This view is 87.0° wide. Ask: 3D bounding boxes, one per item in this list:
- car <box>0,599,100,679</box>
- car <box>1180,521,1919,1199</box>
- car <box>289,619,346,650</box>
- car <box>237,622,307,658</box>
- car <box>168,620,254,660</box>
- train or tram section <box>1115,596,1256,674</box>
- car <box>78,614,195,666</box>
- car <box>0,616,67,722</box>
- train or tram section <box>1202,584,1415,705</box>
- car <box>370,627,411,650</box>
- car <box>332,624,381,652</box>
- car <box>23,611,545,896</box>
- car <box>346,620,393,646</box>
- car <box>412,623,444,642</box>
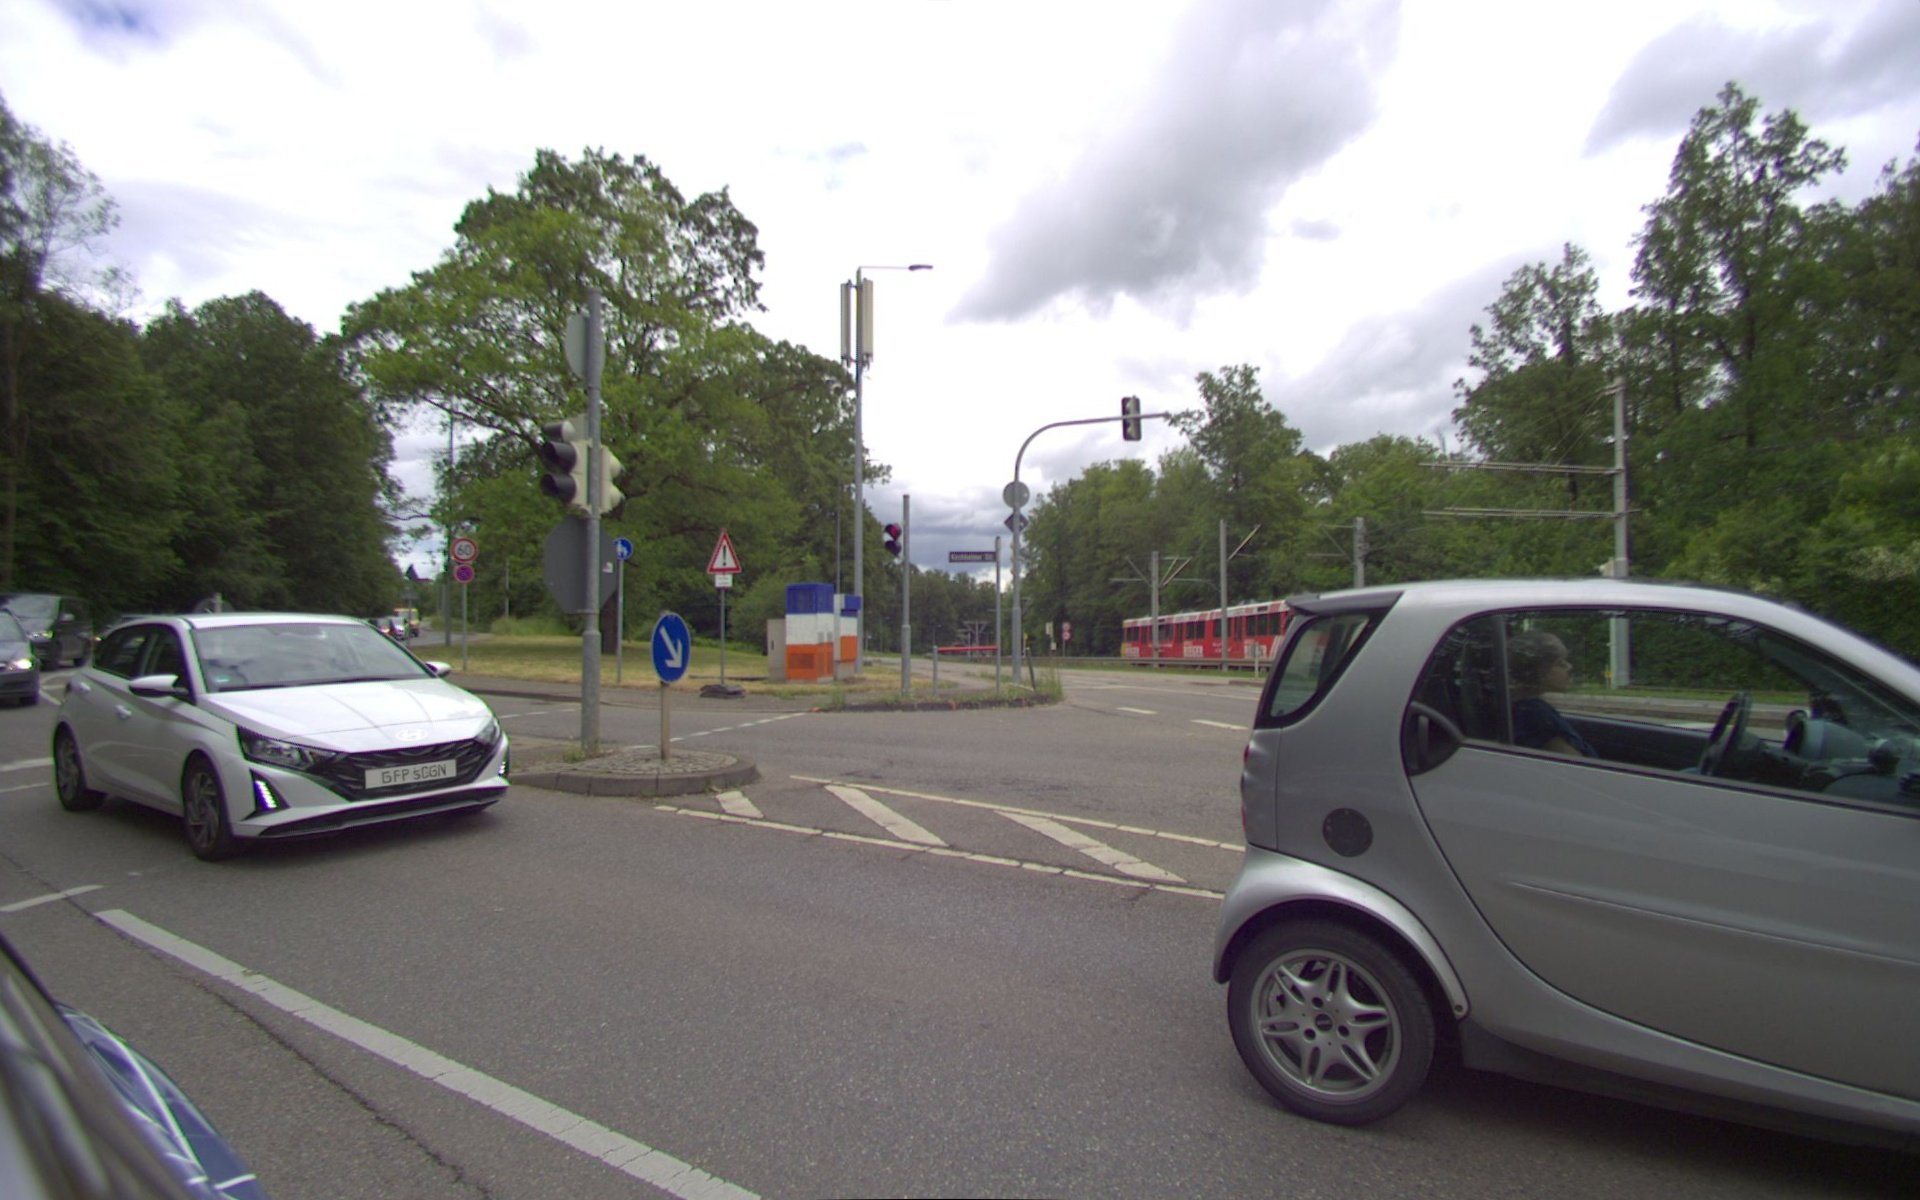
[{"bbox_3d":[-23.845,0.987,25.948,1.958,1.887,4.545,3,-3,-31],"label":"car"},{"bbox_3d":[2.181,0.660,2.930,2.716,1.598,1.447,0,-3,29],"label":"car"},{"bbox_3d":[-32.880,1.756,51.875,1.748,1.511,3.885,2,-2,-22],"label":"car"},{"bbox_3d":[-30.912,1.776,45.567,1.748,1.511,3.885,2,-2,-22],"label":"car"},{"bbox_3d":[-29.845,1.589,40.457,1.748,1.511,3.885,2,-2,-22],"label":"car"},{"bbox_3d":[14.475,2.092,67.801,2.919,4.452,18.759,2,-1,-7],"label":"train or tram section"},{"bbox_3d":[-28.194,1.360,34.803,1.763,1.687,4.003,1,-2,-18],"label":"car"},{"bbox_3d":[-15.401,0.991,15.727,1.774,1.490,4.481,3,-3,-36],"label":"car"},{"bbox_3d":[15.967,1.847,49.154,2.913,4.685,18.557,2,-1,-3],"label":"train or tram section"},{"bbox_3d":[-39.538,2.689,70.330,1.749,1.511,3.885,2,-2,-19],"label":"car"},{"bbox_3d":[-34.234,2.147,57.487,1.748,1.511,3.885,2,-2,-22],"label":"car"},{"bbox_3d":[-4.901,0.854,7.169,4.062,1.490,1.636,0,-3,34],"label":"car"},{"bbox_3d":[-36.724,2.050,62.994,1.749,1.511,3.885,2,-2,-19],"label":"car"},{"bbox_3d":[-45.076,2.742,85.788,1.749,1.511,3.885,2,-2,-19],"label":"car"}]
